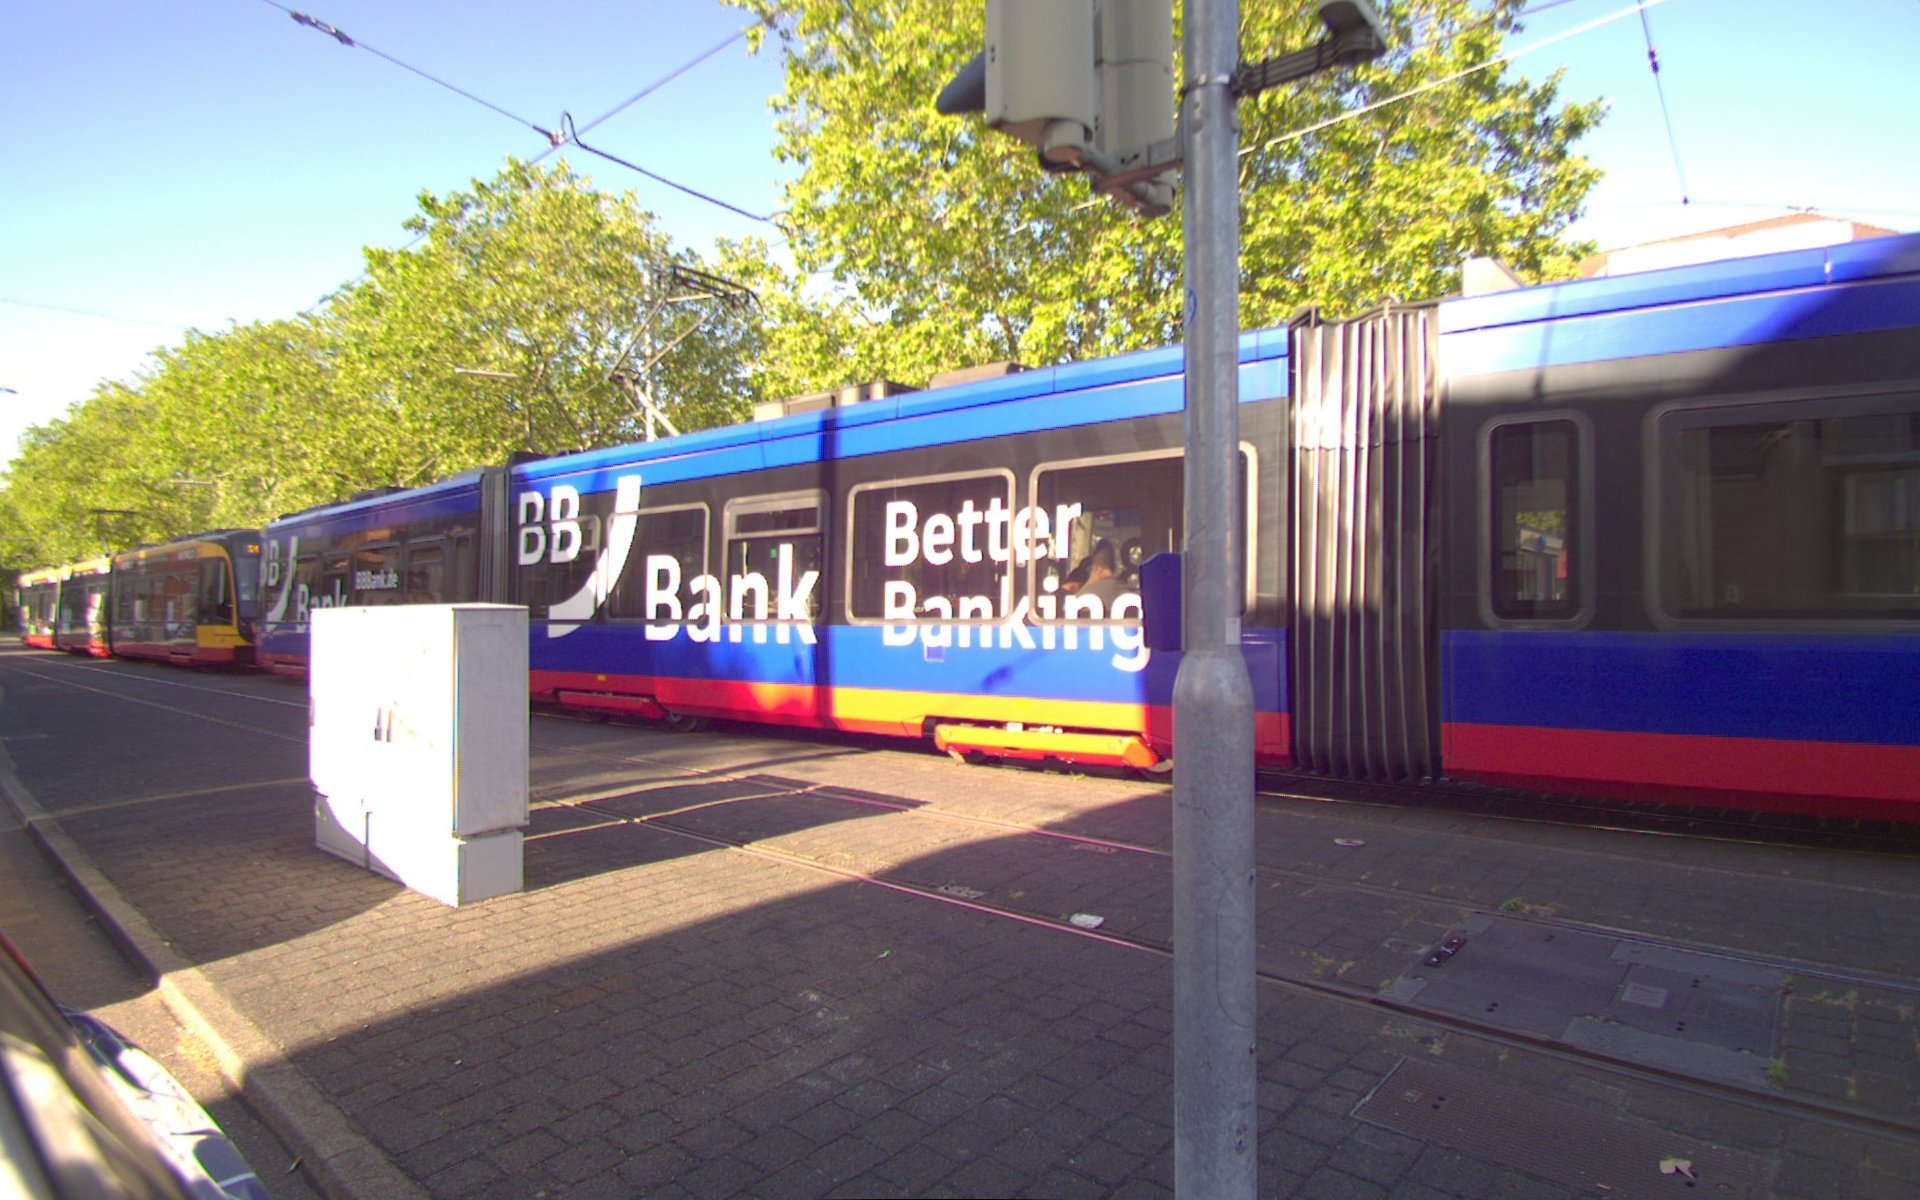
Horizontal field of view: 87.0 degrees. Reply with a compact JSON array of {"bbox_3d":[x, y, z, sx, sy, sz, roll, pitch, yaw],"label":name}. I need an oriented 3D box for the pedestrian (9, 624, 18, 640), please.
[{"bbox_3d":[-94.022,3.175,100.525,0.677,1.654,0.570,-1,-2,43],"label":"pedestrian"}]

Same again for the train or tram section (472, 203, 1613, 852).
[{"bbox_3d":[-0.647,-0.302,10.739,12.485,3.640,3.026,-1,-1,38],"label":"train or tram section"}]

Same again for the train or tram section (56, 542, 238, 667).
[{"bbox_3d":[-28.151,0.240,34.721,11.947,3.640,3.022,-1,-2,42],"label":"train or tram section"}]

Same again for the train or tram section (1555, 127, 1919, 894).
[{"bbox_3d":[9.344,-0.477,3.830,12.063,3.640,3.035,-1,-1,29],"label":"train or tram section"}]

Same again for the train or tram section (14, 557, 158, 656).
[{"bbox_3d":[-37.378,0.362,43.019,12.885,3.640,3.023,-1,-2,42],"label":"train or tram section"}]

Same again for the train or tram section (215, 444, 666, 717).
[{"bbox_3d":[-10.149,-0.153,18.590,12.106,3.640,3.024,-1,-1,41],"label":"train or tram section"}]

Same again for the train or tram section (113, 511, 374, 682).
[{"bbox_3d":[-19.239,0.041,26.634,12.111,3.640,3.022,-1,-2,42],"label":"train or tram section"}]
